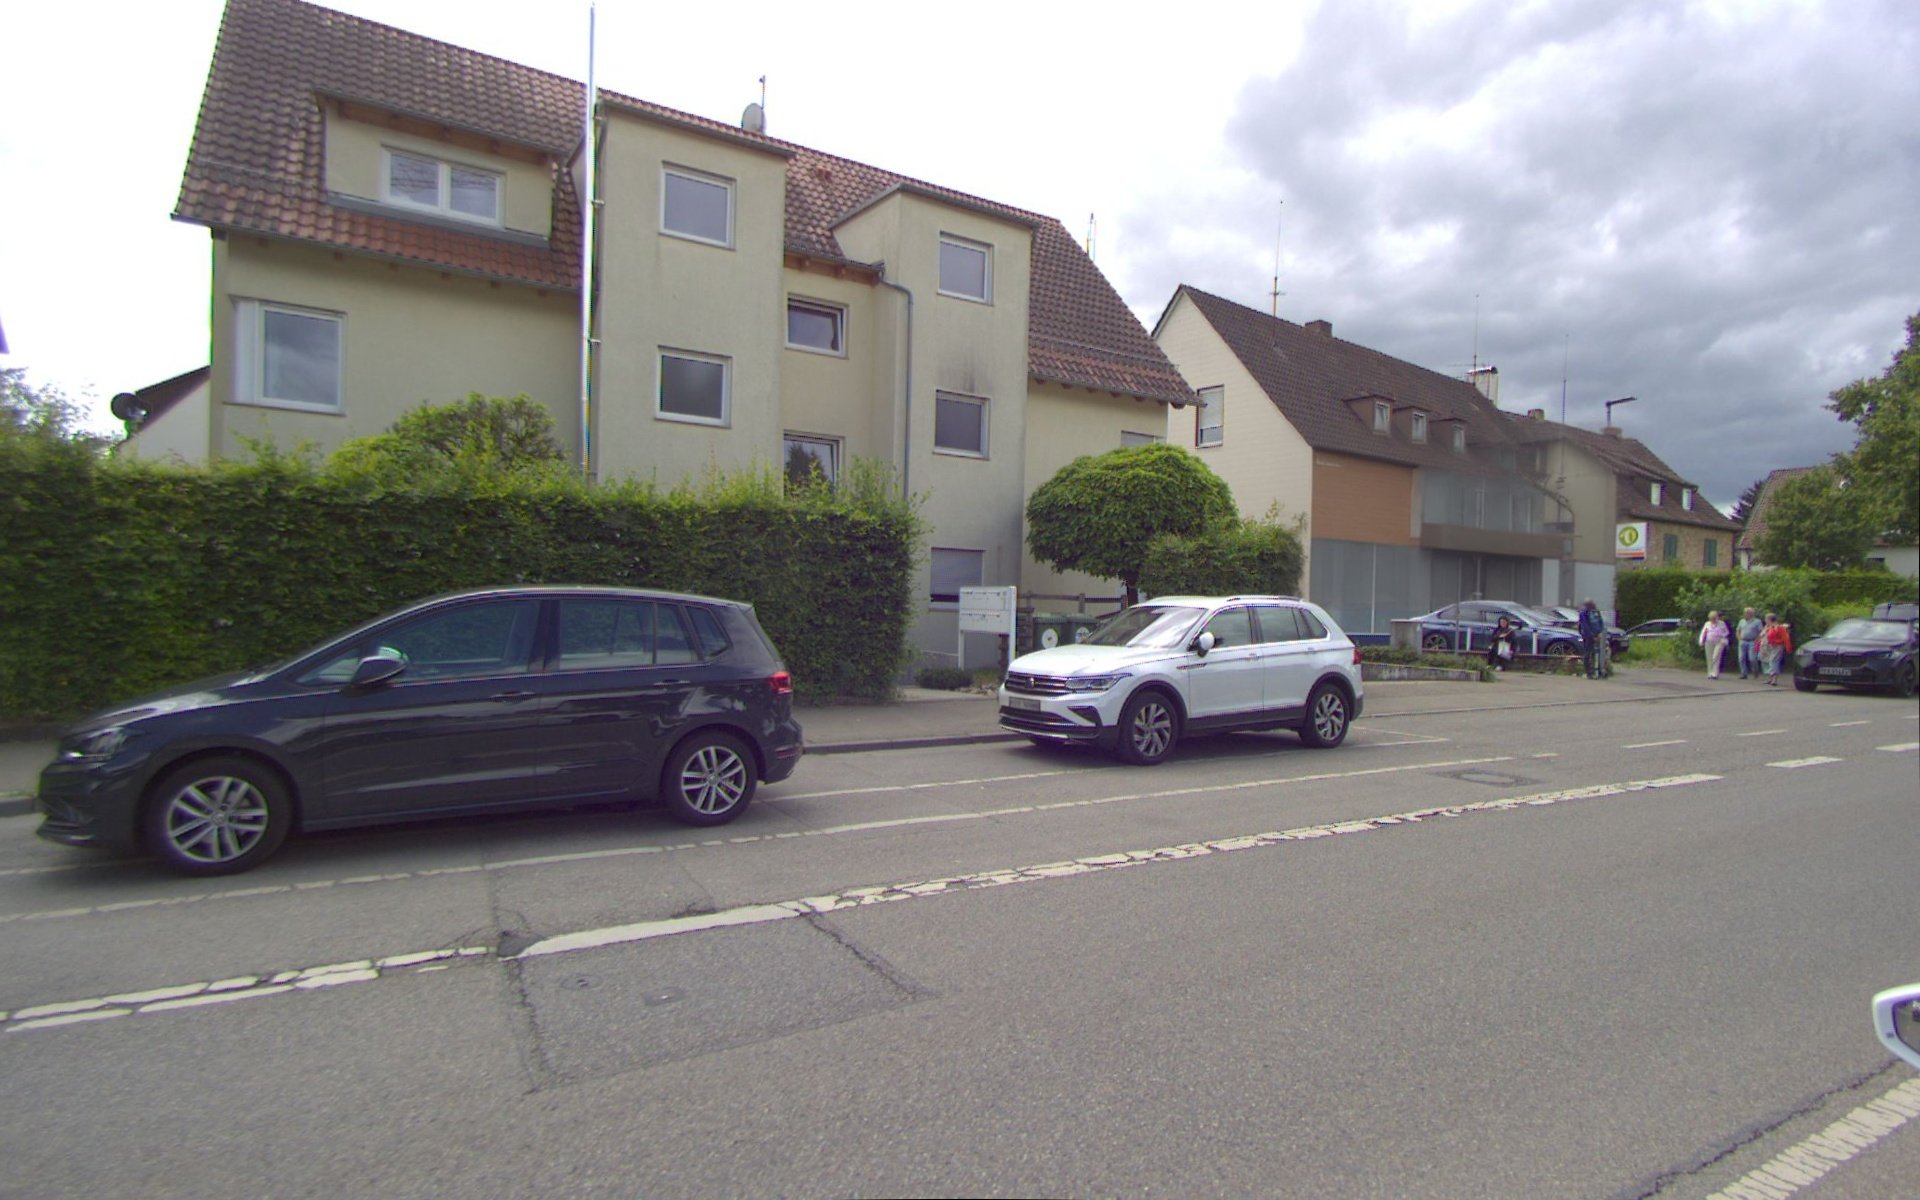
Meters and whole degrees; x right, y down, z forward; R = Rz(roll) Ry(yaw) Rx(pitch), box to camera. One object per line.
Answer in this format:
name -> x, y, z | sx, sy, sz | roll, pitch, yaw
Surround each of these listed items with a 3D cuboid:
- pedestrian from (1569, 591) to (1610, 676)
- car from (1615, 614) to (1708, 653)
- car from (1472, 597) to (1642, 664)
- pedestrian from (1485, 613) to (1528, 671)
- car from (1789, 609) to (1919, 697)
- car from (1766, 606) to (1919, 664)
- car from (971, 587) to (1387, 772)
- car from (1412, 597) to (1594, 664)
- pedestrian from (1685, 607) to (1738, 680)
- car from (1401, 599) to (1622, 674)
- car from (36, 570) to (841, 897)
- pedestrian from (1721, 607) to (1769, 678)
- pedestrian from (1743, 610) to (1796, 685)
pedestrian -> 13.713, 0.726, 21.880 | 0.663, 1.830, 0.501 | 1, 0, -30
car -> 28.332, 1.343, 40.624 | 1.285, 1.461, 2.807 | 1, 0, -35
car -> 17.149, 0.799, 29.072 | 1.840, 1.714, 3.982 | -3, 1, -19
pedestrian -> 12.731, 0.967, 23.421 | 0.697, 1.330, 0.585 | 1, 0, -29
car -> 20.490, 1.134, 22.415 | 4.514, 1.748, 1.714 | 1, 0, -32
car -> 31.715, 1.191, 35.984 | 1.976, 1.917, 3.968 | 1, 0, -30
car -> 2.499, 0.756, 11.019 | 4.537, 1.656, 1.810 | 1, -1, -33
car -> 14.756, 0.767, 27.466 | 1.774, 1.502, 3.959 | 1, 3, -36
pedestrian -> 18.009, 1.024, 24.068 | 0.873, 1.686, 0.781 | 1, 0, -37
car -> 13.763, 0.846, 25.221 | 4.464, 1.574, 2.024 | 3, 1, 44
car -> -3.068, 0.676, 6.667 | 4.224, 1.572, 1.668 | 1, 0, -32
pedestrian -> 19.199, 1.021, 24.573 | 0.586, 1.686, 0.781 | 1, 0, -37
pedestrian -> 18.838, 1.090, 23.387 | 0.747, 1.686, 0.781 | 1, 0, -37
